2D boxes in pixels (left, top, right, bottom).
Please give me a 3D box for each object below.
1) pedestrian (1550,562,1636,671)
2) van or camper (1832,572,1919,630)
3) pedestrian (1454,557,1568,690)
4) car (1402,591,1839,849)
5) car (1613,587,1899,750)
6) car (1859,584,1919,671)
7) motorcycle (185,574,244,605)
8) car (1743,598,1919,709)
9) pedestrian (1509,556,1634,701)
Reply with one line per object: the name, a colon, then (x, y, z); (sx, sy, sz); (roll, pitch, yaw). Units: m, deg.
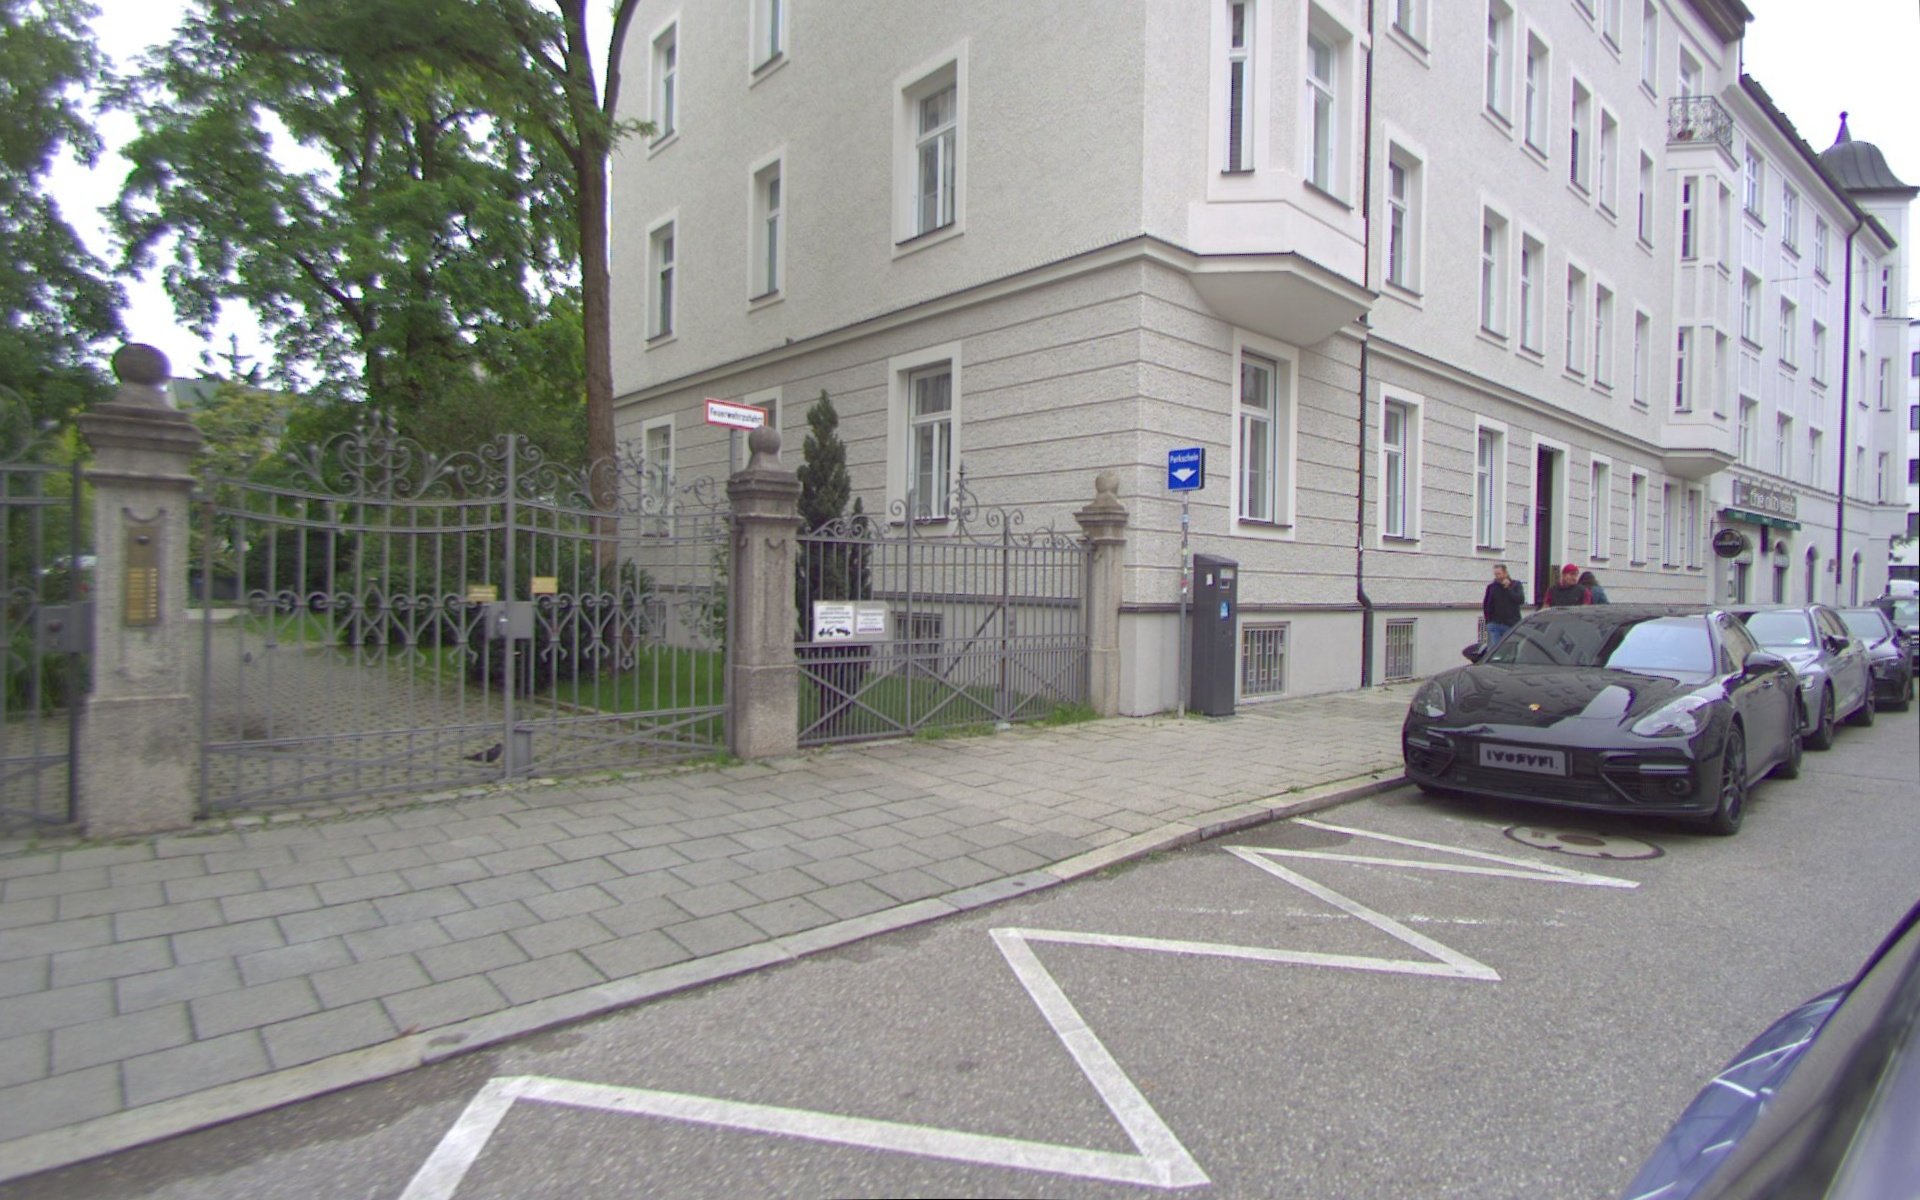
pedestrian: (11.369, 0.275, 18.184); (1.091, 1.835, 0.885); (0, 5, -40)
van or camper: (47.361, 0.084, 50.458); (5.849, 2.749, 2.268); (2, -2, 43)
pedestrian: (7.874, 0.319, 14.486); (1.088, 1.808, 0.888); (1, 2, -27)
car: (5.599, 0.697, 8.292); (4.634, 1.476, 1.995); (0, 1, -44)
car: (9.133, 0.668, 11.481); (4.343, 1.505, 1.763); (1, -2, -41)
car: (20.237, 0.534, 21.073); (4.117, 1.696, 1.802); (0, -1, -42)
motorcycle: (-31.495, -0.444, 42.763); (1.950, 1.304, 0.657); (0, 1, -41)
car: (13.368, 0.711, 15.283); (1.837, 1.417, 4.893); (-1, -1, 45)
pedestrian: (8.158, 0.360, 13.513); (1.088, 1.834, 0.888); (1, 2, -25)
